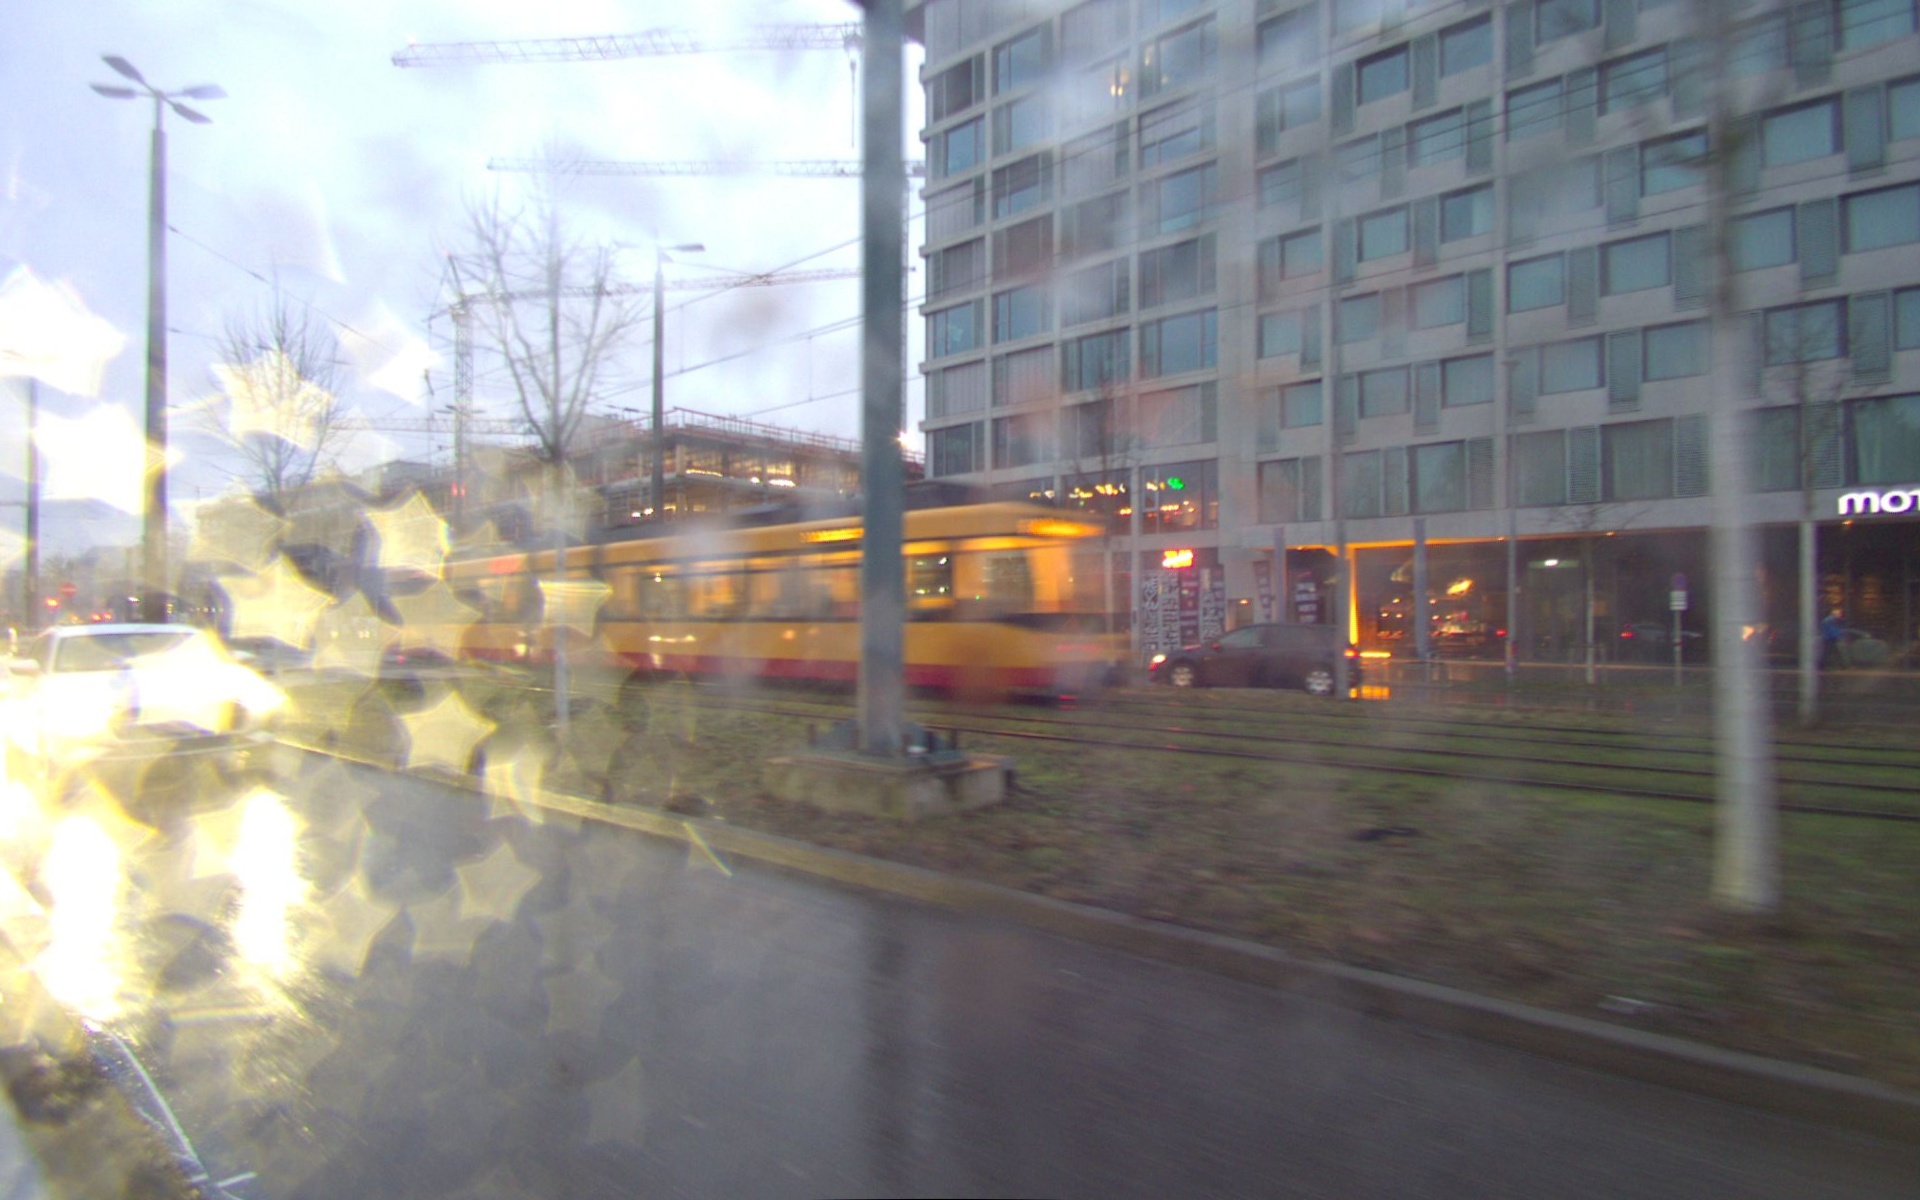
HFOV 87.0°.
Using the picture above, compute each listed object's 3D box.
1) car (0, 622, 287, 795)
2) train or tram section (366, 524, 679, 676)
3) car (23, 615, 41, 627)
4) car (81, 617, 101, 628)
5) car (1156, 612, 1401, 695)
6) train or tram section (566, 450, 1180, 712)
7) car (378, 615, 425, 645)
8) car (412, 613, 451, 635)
[{"bbox_3d":[-8.994,0.976,10.876,4.613,1.416,1.827,-1,0,42],"label":"car"},{"bbox_3d":[-13.278,0.149,29.345,14.319,3.513,2.924,-2,-2,43],"label":"train or tram section"},{"bbox_3d":[-166.253,3.780,181.215,3.998,2.029,1.972,-1,-2,42],"label":"car"},{"bbox_3d":[-142.878,3.667,166.365,4.000,1.837,1.972,-2,-2,43],"label":"car"},{"bbox_3d":[6.315,1.017,20.108,4.426,1.508,1.983,-1,-1,26],"label":"car"},{"bbox_3d":[-2.813,-0.106,19.509,14.264,3.513,2.925,-1,-2,43],"label":"train or tram section"},{"bbox_3d":[-38.634,2.079,70.002,1.969,2.029,4.005,1,-2,-42],"label":"car"},{"bbox_3d":[-43.350,1.984,82.970,1.885,1.756,4.005,1,-2,-42],"label":"car"}]
